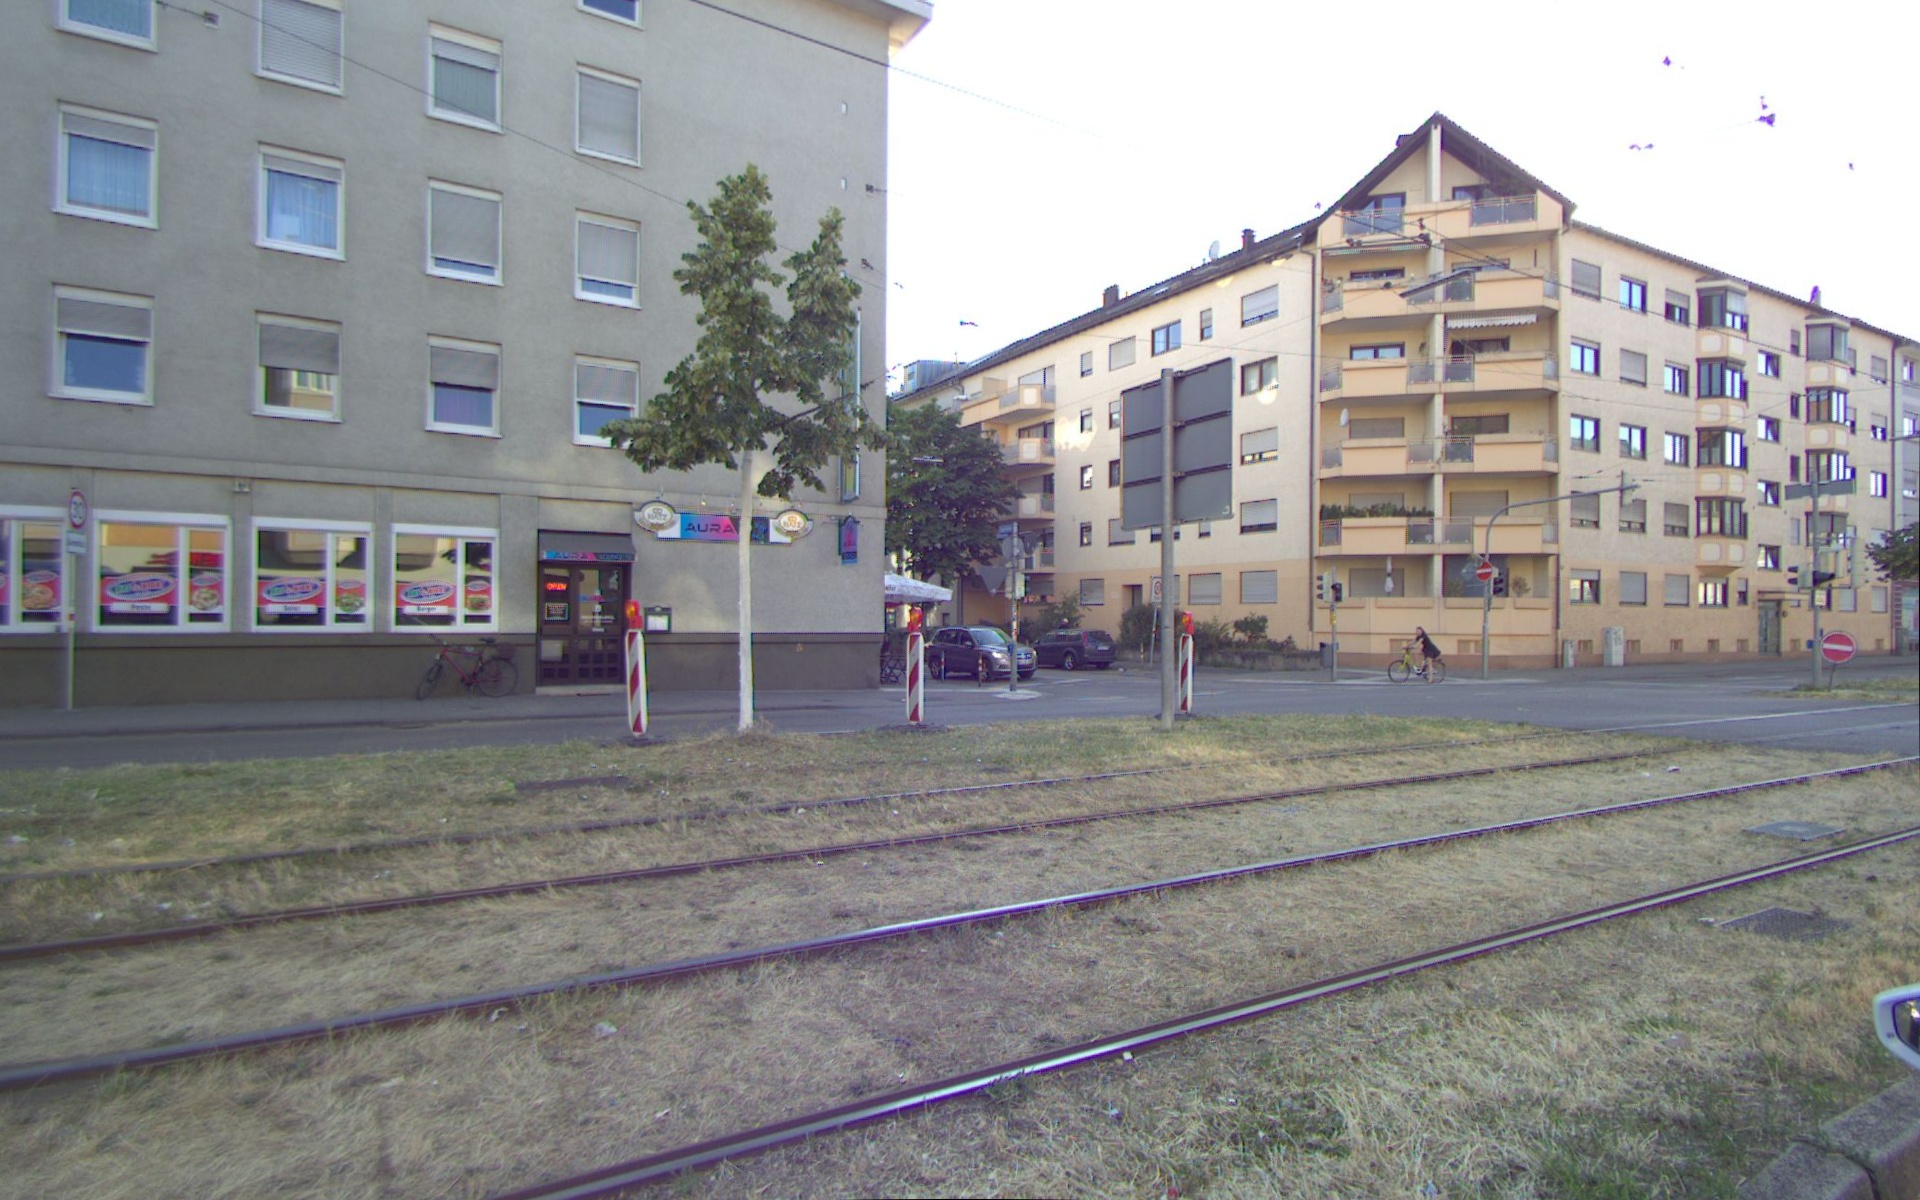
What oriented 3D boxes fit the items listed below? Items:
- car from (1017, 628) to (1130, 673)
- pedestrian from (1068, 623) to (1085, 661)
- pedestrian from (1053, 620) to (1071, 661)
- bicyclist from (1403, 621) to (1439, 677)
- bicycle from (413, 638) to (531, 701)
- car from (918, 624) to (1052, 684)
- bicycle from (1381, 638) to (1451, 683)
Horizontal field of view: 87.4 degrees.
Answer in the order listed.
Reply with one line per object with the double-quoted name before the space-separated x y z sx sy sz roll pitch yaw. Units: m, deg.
"car" 4.184 1.837 37.581 1.982 1.462 3.957 -3 1 -38
"pedestrian" 4.971 1.782 42.886 0.508 1.573 0.547 0 1 -24
"pedestrian" 4.319 1.715 42.475 0.456 1.727 0.589 2 0 -24
"bicyclist" 13.462 1.434 29.332 0.793 1.607 0.628 0 0 4
"bicycle" -8.594 1.206 17.724 1.823 1.037 0.605 2 0 -31
"car" 0.711 1.622 31.416 1.982 1.645 4.153 -3 1 -38
"bicycle" 13.304 1.761 29.345 1.833 1.274 0.457 0 0 3
